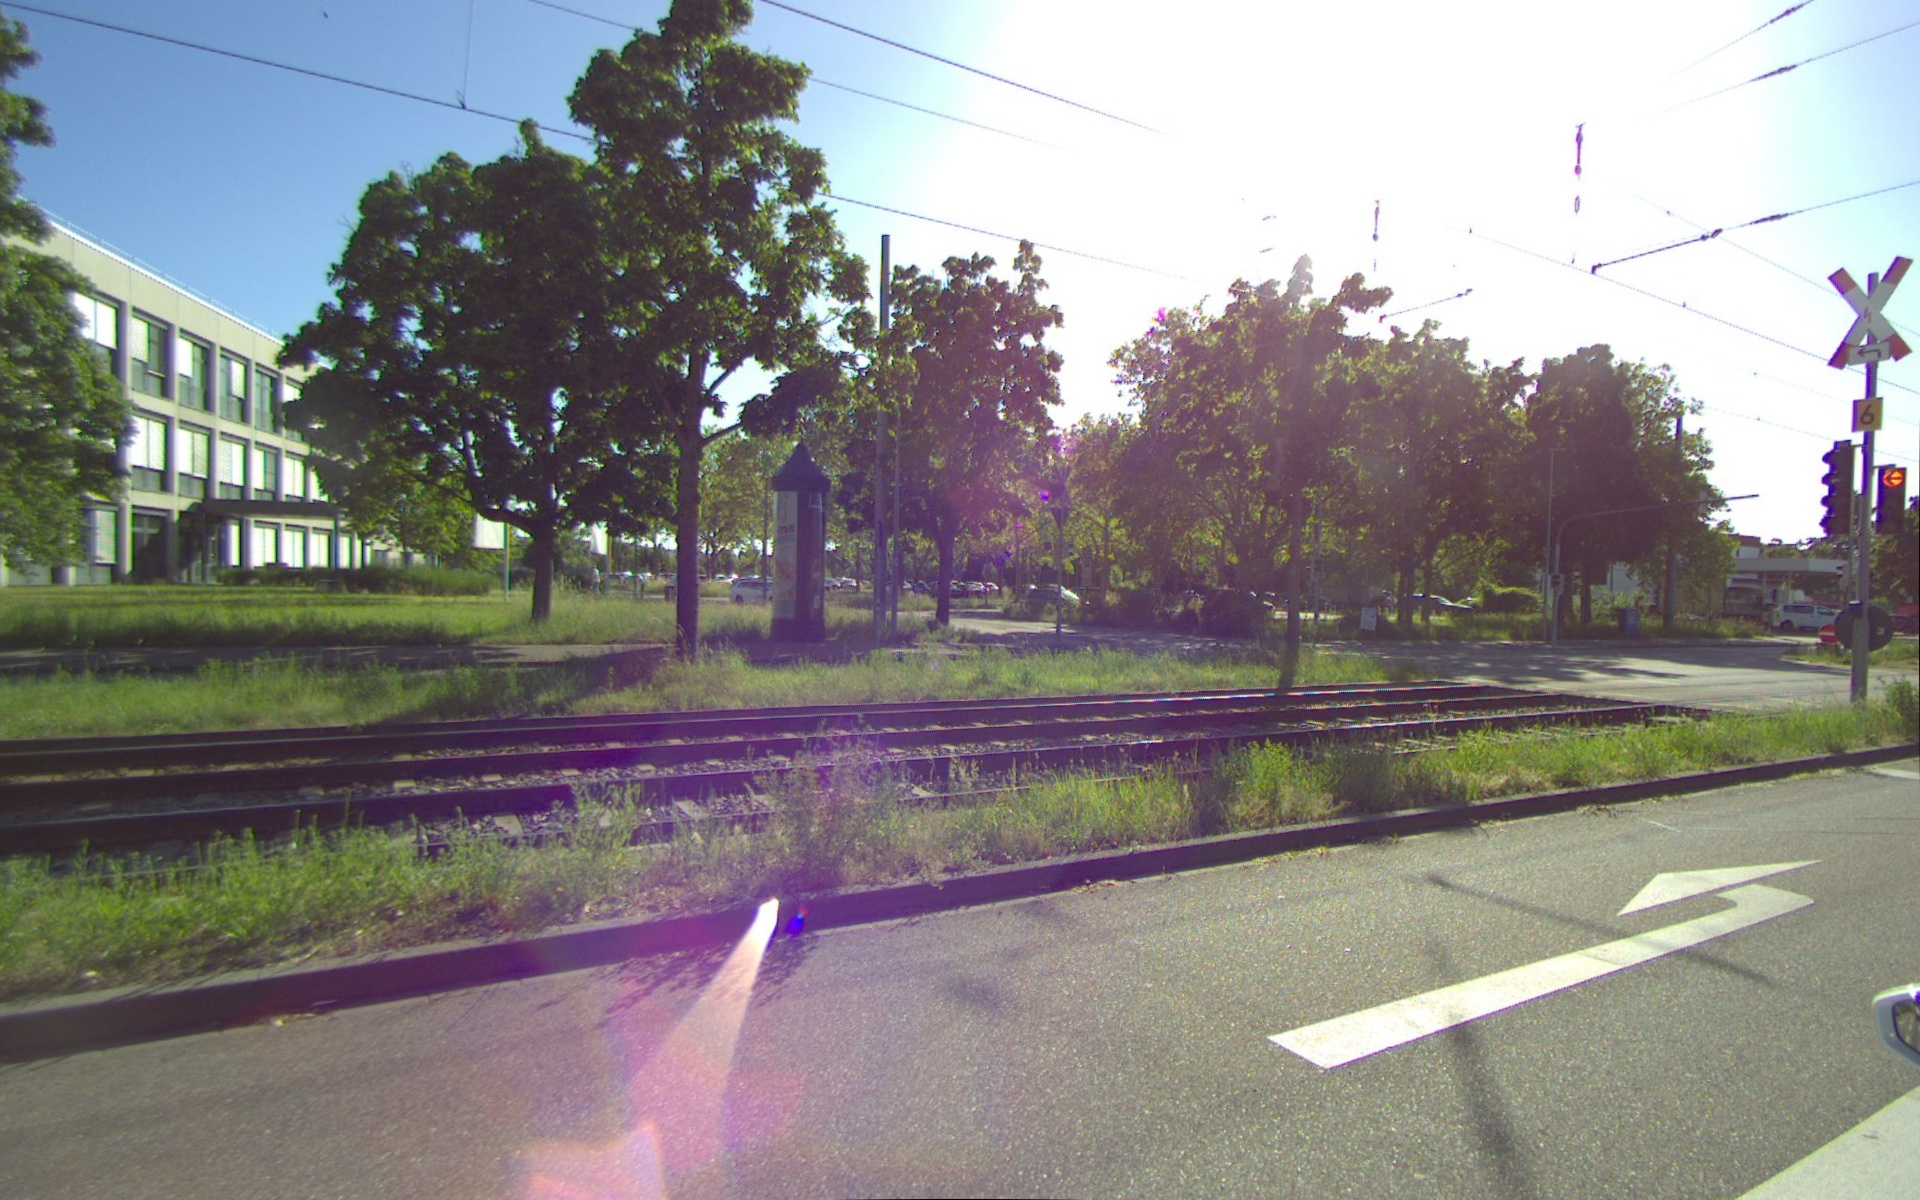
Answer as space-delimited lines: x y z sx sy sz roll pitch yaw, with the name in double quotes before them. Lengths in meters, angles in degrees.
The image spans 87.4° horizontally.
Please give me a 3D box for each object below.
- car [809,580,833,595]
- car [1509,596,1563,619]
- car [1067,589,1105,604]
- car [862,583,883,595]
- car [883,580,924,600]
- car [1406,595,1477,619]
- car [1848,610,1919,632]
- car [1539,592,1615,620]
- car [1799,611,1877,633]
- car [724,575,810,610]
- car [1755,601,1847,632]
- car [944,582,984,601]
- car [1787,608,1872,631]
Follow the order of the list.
"car" -17.295 -1.561 124.801 1.806 1.627 3.975 1 1 -24
"car" 43.020 0.560 75.019 4.037 1.565 1.571 1 1 -28
"car" 13.292 -0.411 106.039 1.829 1.451 3.938 1 1 -35
"car" -12.815 -1.660 146.548 1.806 1.627 3.975 1 1 -24
"car" -5.301 -0.950 94.084 1.815 1.690 3.955 1 2 -38
"car" 31.754 0.440 66.381 1.649 1.451 3.938 0 1 -35
"car" 73.323 1.659 79.607 1.773 1.589 4.047 1 1 -33
"car" 48.746 0.433 79.437 1.998 2.119 4.695 1 1 -32
"car" 66.222 1.654 75.782 4.383 1.490 1.791 1 1 -1
"car" -10.026 -0.395 52.056 4.359 1.662 1.983 2 1 36
"car" 59.271 1.158 70.866 4.689 2.000 1.861 1 1 7
"car" 0.360 -0.828 97.030 1.815 1.690 3.955 1 2 -38
"car" 63.317 1.407 73.208 4.380 1.548 1.793 1 1 7
